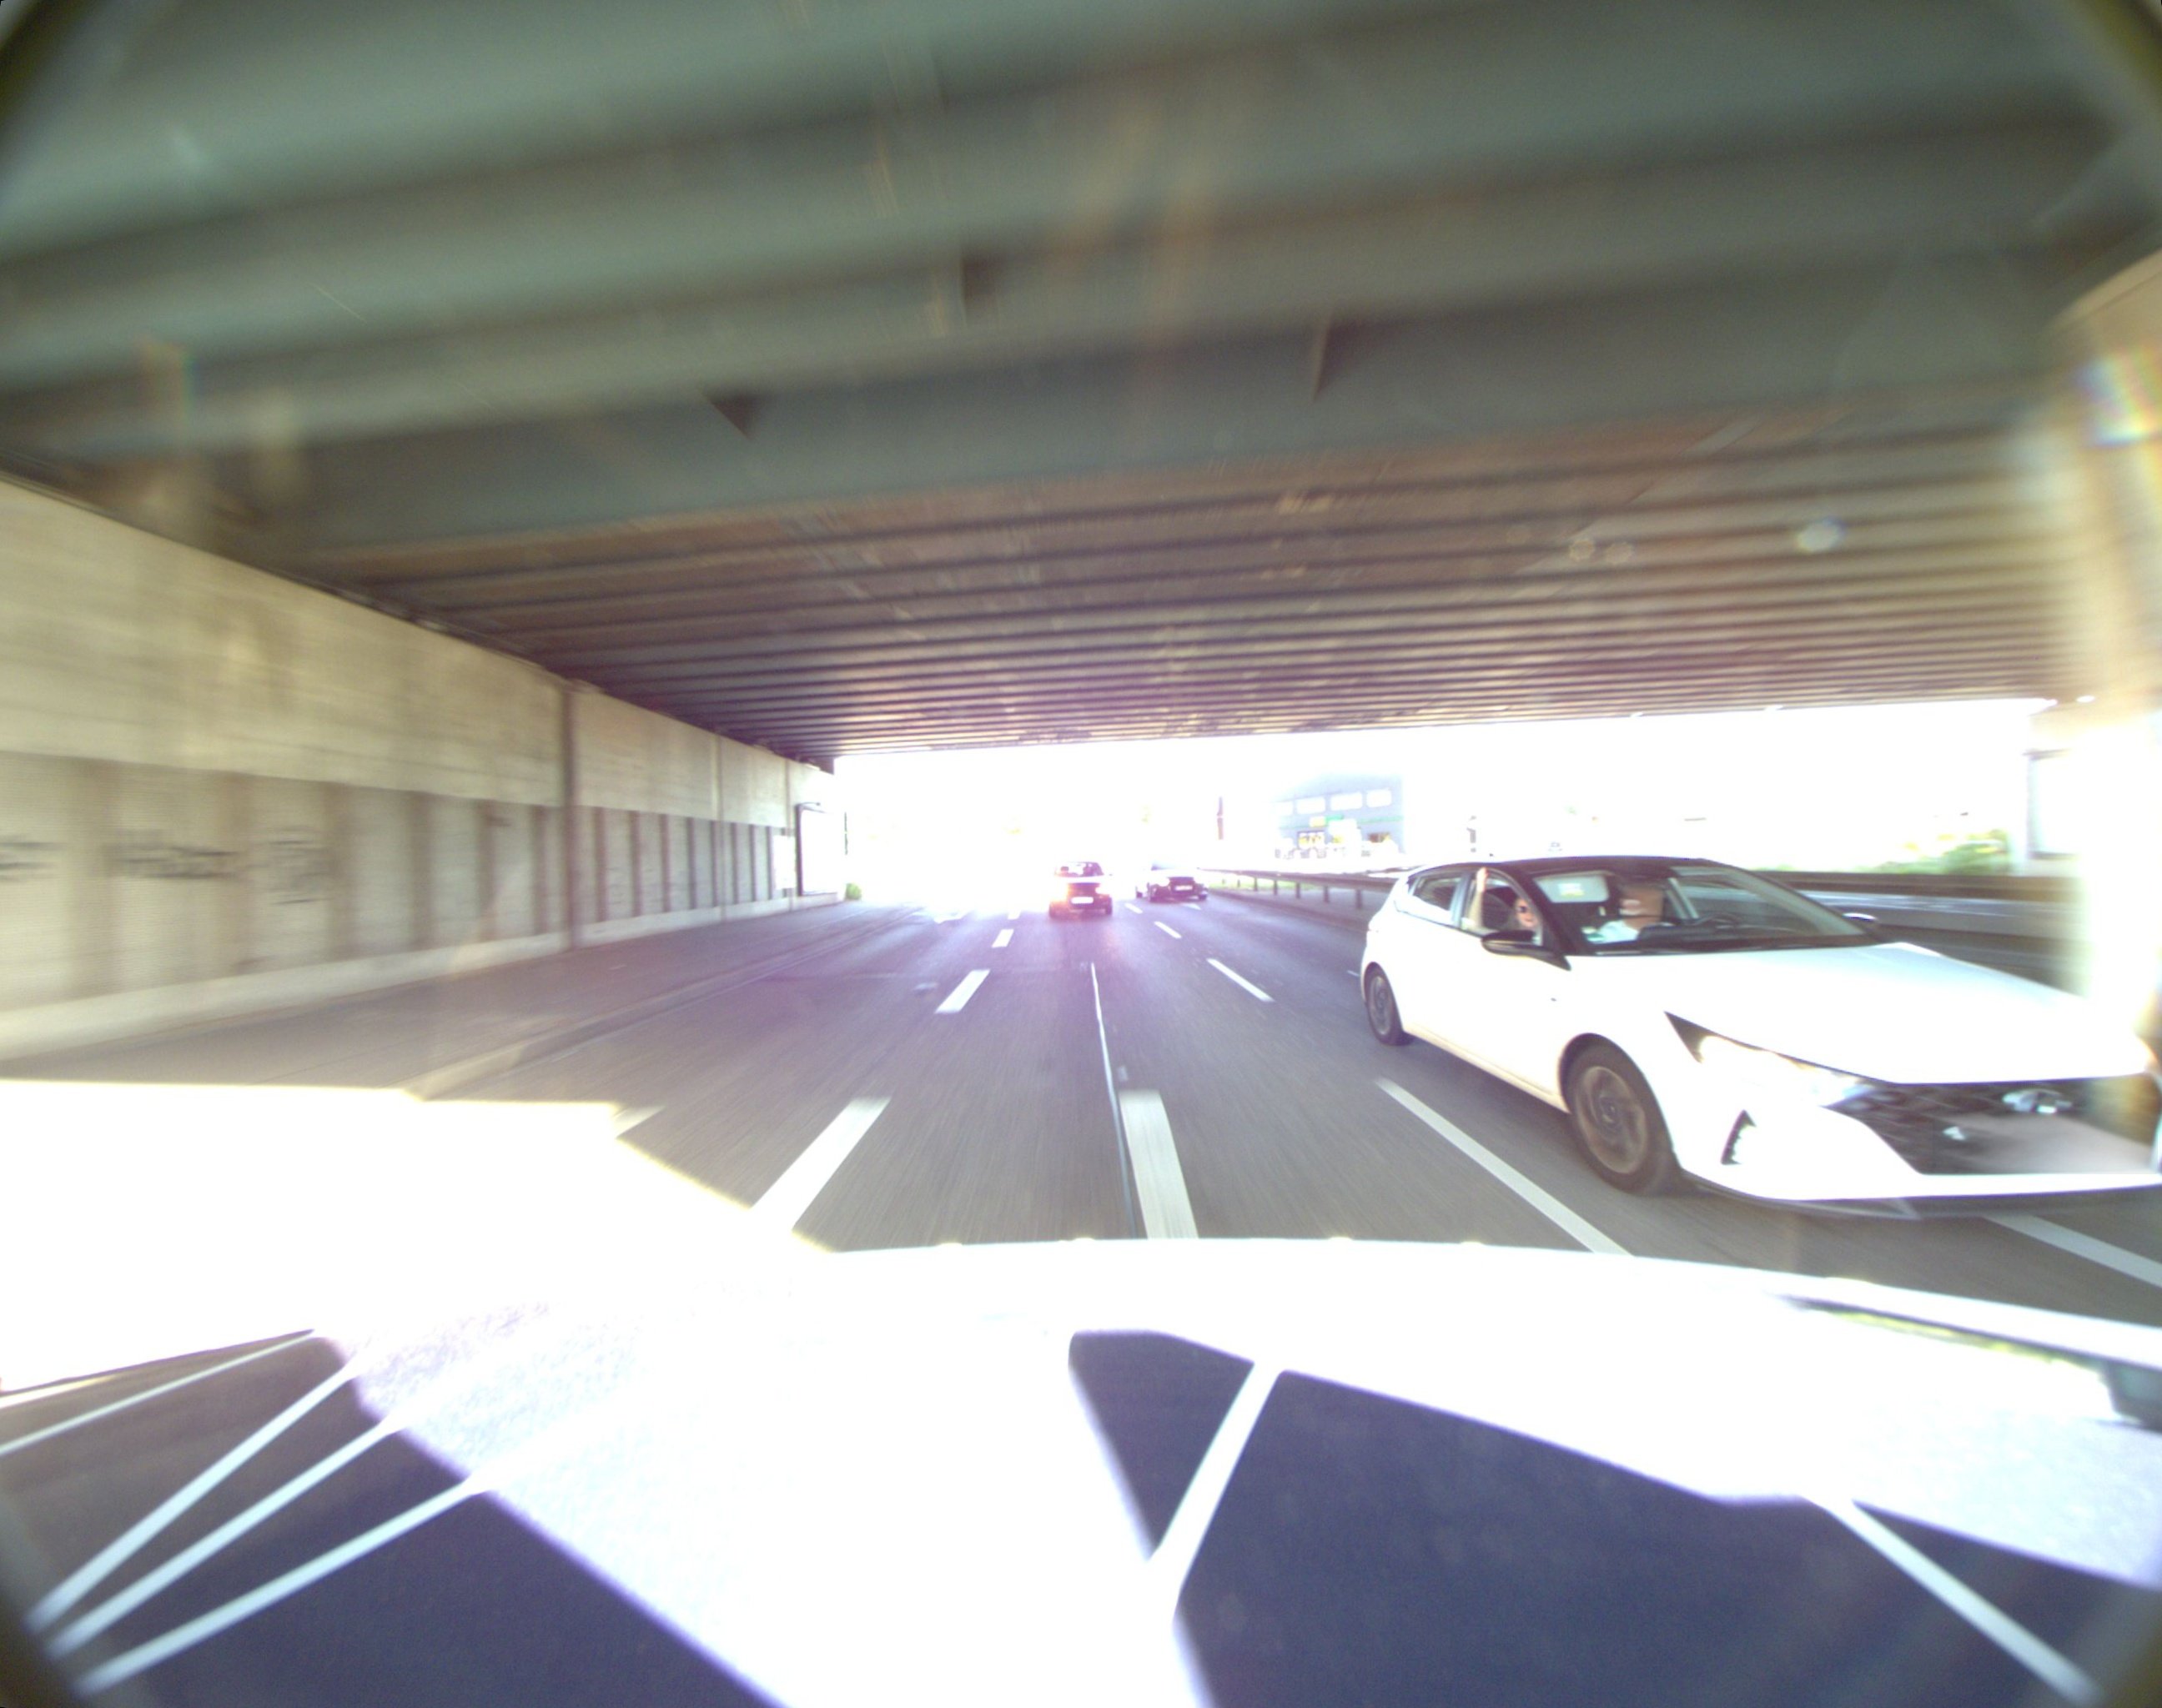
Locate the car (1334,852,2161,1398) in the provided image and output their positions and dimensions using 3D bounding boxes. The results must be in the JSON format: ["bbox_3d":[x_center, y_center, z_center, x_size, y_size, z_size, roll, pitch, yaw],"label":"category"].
[{"bbox_3d":[3.013,0.791,4.234,1.738,1.471,3.989,-3,1,-1],"label":"car"}]

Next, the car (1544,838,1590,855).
[{"bbox_3d":[37.724,-0.541,58.961,4.191,1.274,1.825,0,0,-40],"label":"car"}]

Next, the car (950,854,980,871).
[{"bbox_3d":[-11.100,0.783,72.552,1.852,1.474,3.975,-2,-1,-23],"label":"car"}]

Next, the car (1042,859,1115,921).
[{"bbox_3d":[-0.048,0.890,20.756,1.737,1.412,4.318,-2,0,0],"label":"car"}]

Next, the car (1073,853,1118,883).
[{"bbox_3d":[0.726,0.780,41.626,1.849,1.515,3.980,-2,-1,-7],"label":"car"}]

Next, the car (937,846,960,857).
[{"bbox_3d":[-20.142,-0.319,115.414,1.834,1.578,4.172,-2,0,-36],"label":"car"}]

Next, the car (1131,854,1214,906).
[{"bbox_3d":[2.836,0.775,24.457,1.849,1.412,3.979,-2,1,-5],"label":"car"}]

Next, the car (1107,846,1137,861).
[{"bbox_3d":[4.103,-0.029,76.650,1.625,1.511,3.819,-2,0,-21],"label":"car"}]
